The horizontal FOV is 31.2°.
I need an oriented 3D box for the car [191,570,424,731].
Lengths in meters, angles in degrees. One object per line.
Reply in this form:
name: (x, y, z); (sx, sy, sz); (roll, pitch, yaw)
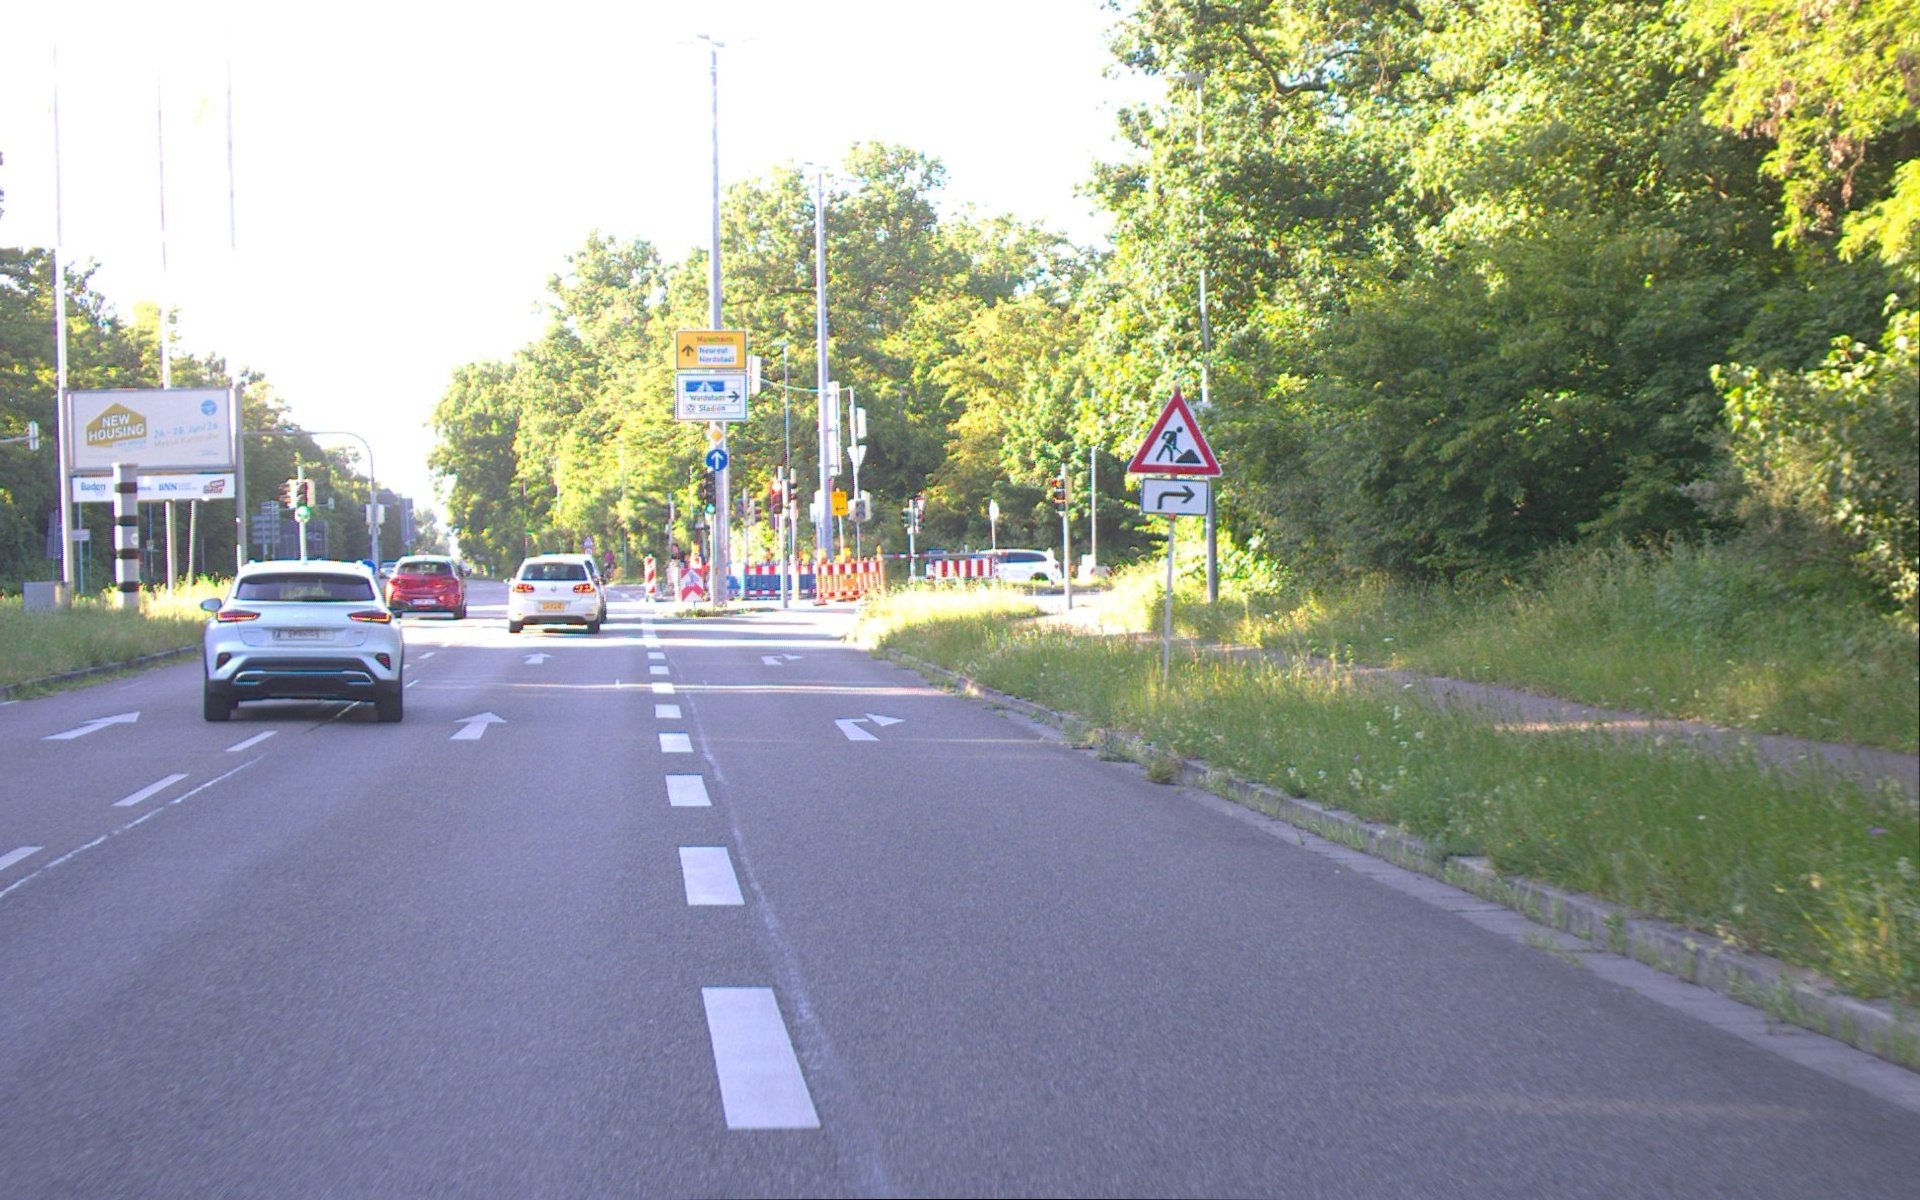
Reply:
car: (-6.184, 0.443, 32.941); (1.863, 1.439, 4.001); (0, 0, -6)

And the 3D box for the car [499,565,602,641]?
car: (-8.083, 0.047, 67.921); (1.939, 1.409, 4.001); (-1, 1, -7)

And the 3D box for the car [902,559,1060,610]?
car: (0.690, -0.516, 113.606); (4.817, 1.575, 2.000); (-1, 0, -27)

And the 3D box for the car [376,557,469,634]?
car: (-12.275, -0.115, 78.397); (1.993, 1.679, 4.001); (-1, 1, -10)
